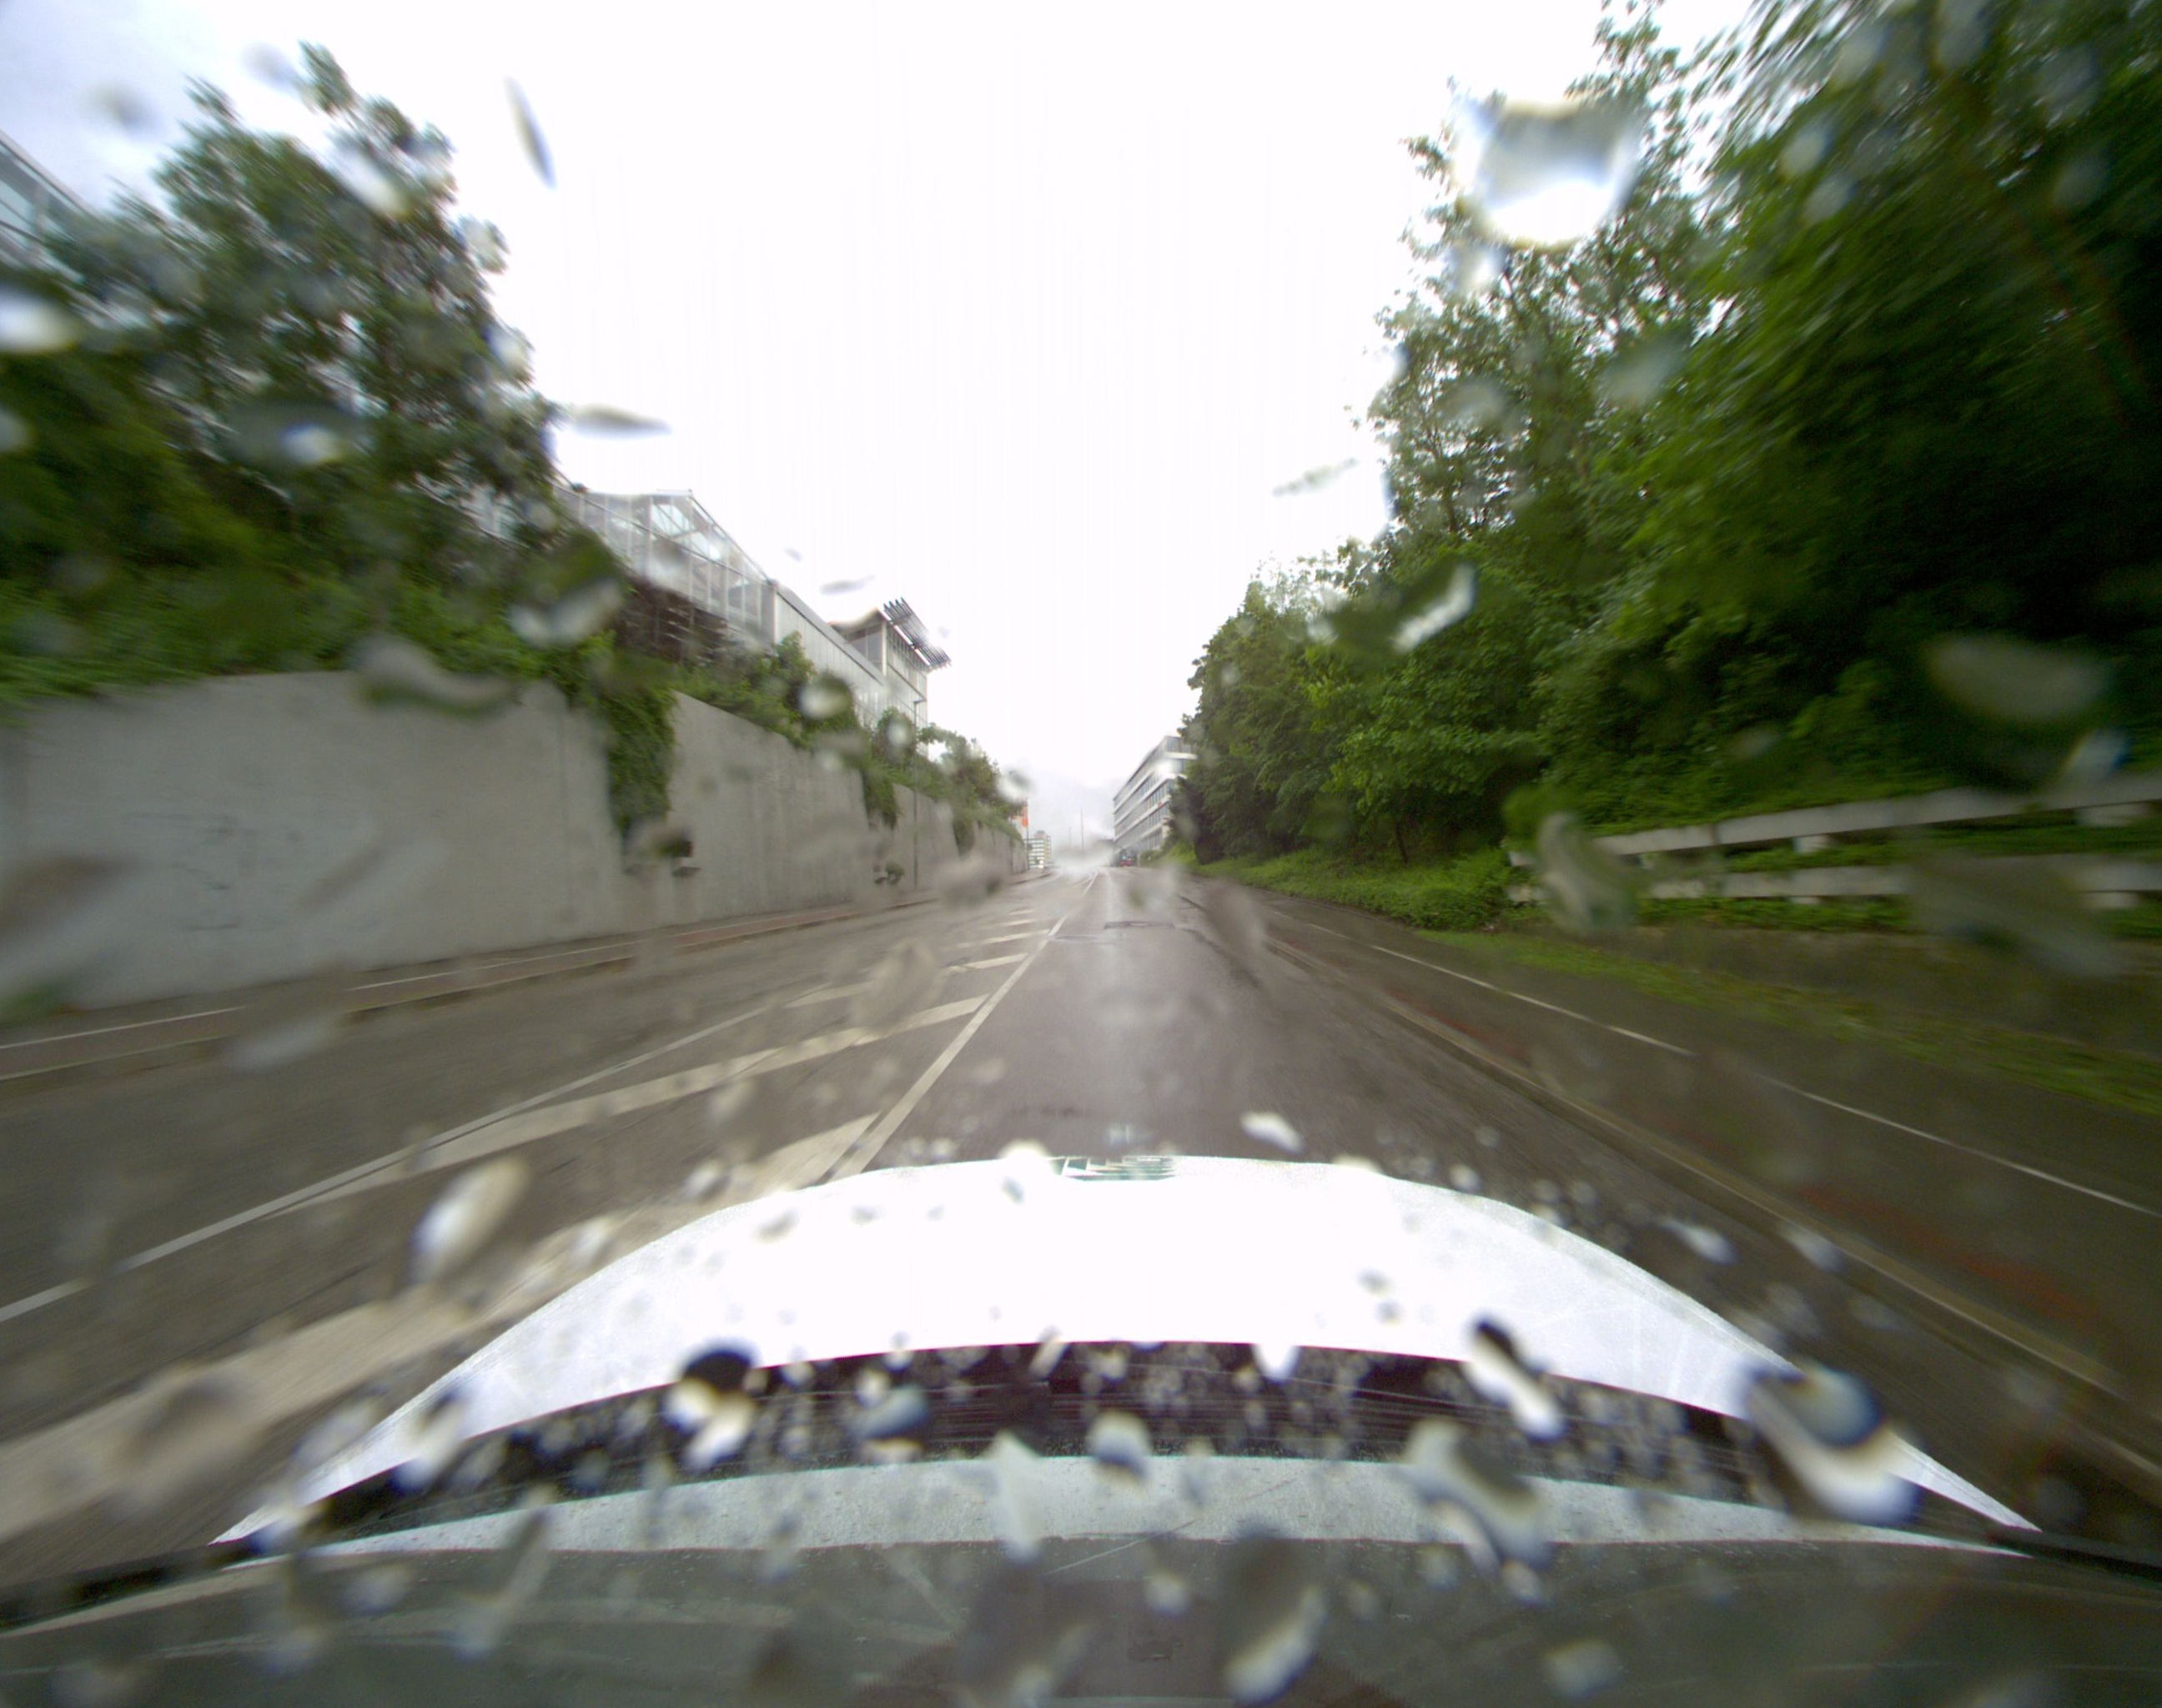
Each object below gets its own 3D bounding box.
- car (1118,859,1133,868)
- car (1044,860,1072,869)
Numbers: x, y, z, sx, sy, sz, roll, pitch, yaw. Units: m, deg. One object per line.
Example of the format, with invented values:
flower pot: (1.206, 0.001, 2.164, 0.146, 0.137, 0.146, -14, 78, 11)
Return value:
car: (7.020, 1.477, 129.312, 1.791, 1.409, 4.208, -1, 0, -5)
car: (-3.472, 1.621, 124.599, 4.195, 1.362, 1.656, 1, -1, 39)
